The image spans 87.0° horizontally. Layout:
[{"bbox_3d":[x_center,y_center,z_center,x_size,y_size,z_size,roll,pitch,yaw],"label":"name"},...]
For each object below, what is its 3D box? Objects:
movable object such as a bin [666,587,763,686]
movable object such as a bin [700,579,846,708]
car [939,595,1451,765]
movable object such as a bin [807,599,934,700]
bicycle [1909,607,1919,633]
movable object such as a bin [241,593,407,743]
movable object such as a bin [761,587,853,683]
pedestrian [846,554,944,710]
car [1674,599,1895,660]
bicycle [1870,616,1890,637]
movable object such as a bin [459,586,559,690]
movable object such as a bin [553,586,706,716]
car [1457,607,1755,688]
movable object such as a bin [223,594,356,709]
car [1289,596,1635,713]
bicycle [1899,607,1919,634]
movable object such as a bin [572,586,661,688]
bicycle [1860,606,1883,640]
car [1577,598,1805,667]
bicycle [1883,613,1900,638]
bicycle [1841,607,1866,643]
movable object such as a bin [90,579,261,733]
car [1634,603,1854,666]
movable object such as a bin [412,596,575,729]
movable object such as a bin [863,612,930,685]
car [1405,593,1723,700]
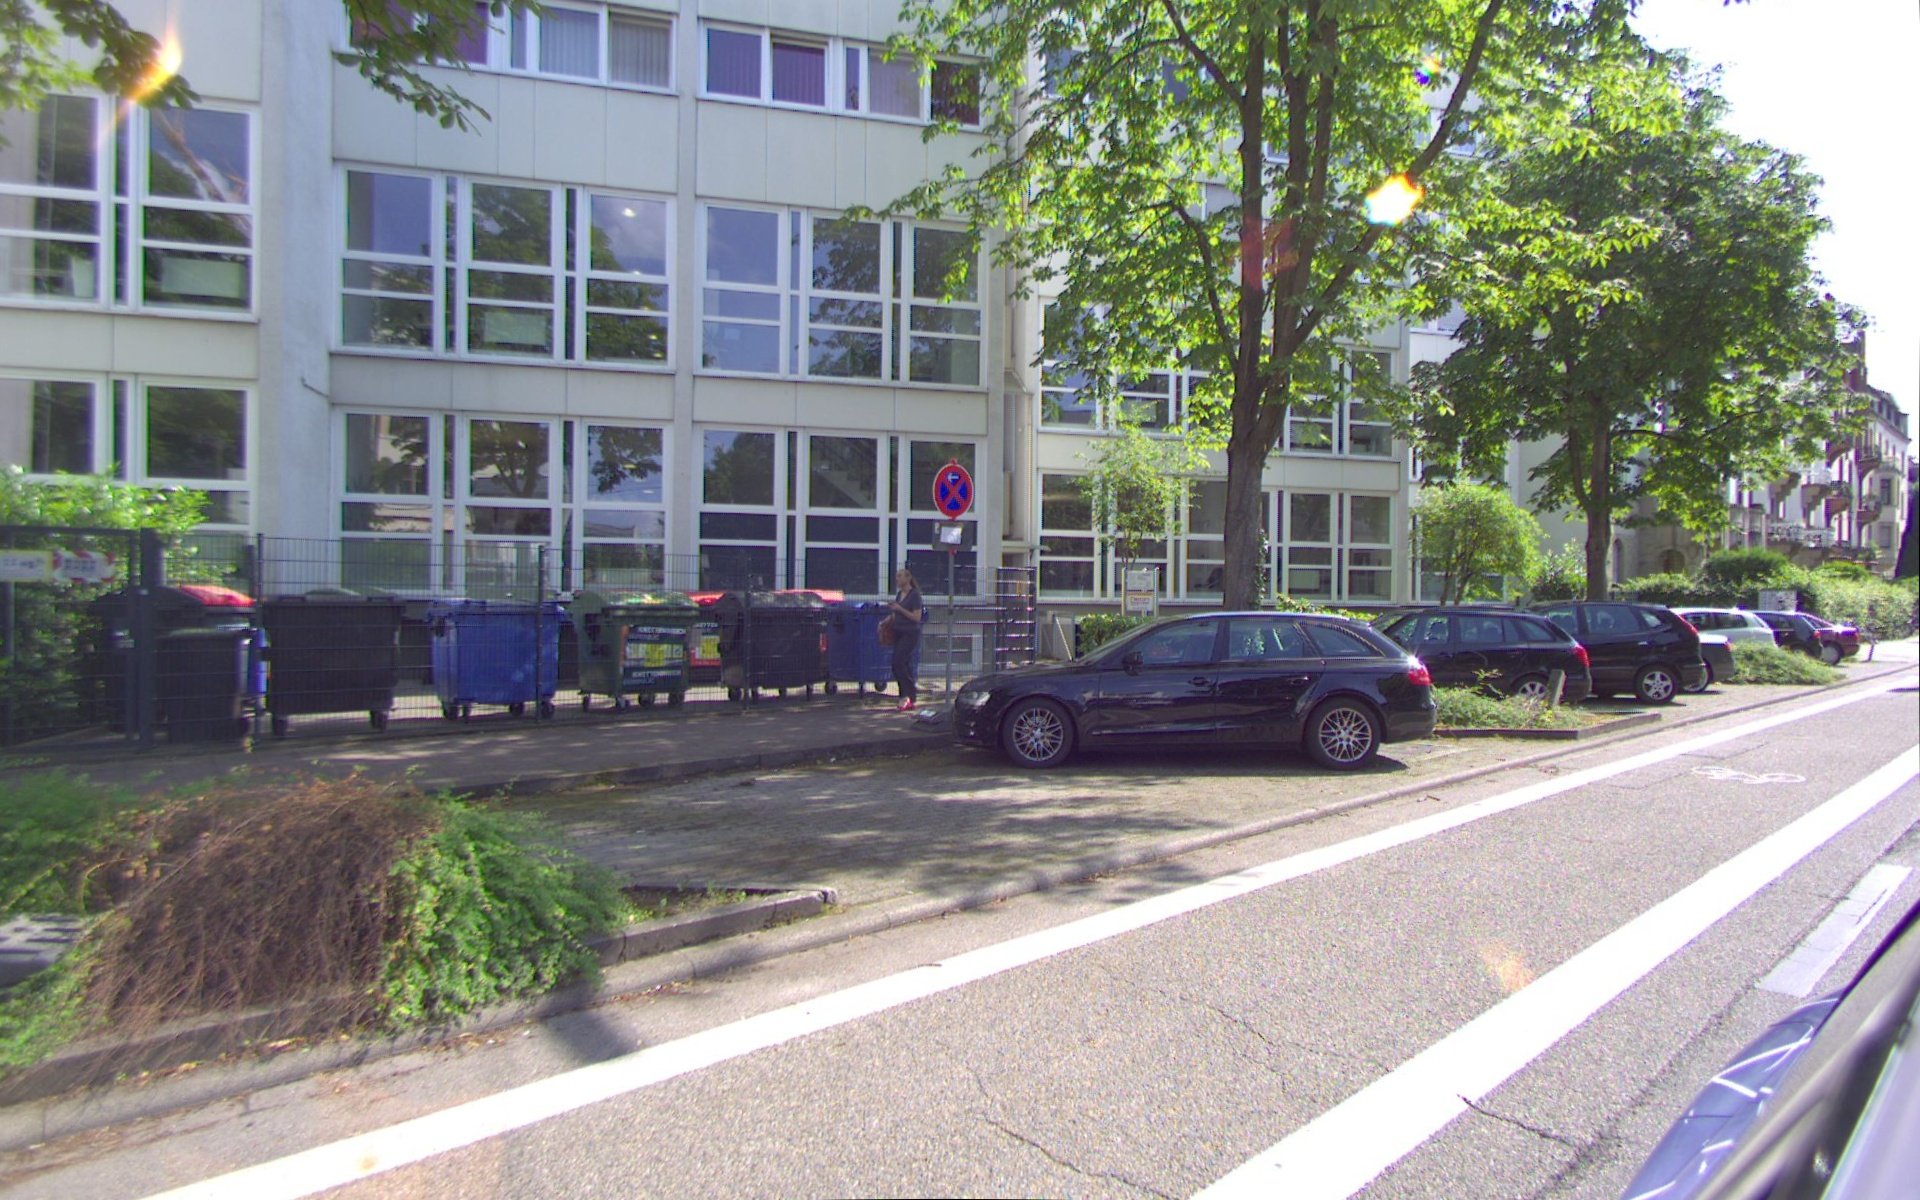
[{"bbox_3d":[-3.909,0.550,16.061,1.422,1.474,1.212,-1,0,-17],"label":"movable object such as a bin"},{"bbox_3d":[-2.441,0.526,13.183,1.443,1.558,1.277,0,0,-40],"label":"movable object such as a bin"},{"bbox_3d":[2.114,0.735,10.018,4.456,1.460,2.029,-1,-1,5],"label":"car"},{"bbox_3d":[-1.271,0.652,14.358,1.302,1.335,1.277,0,0,-40],"label":"movable object such as a bin"},{"bbox_3d":[40.128,0.821,42.133,2.321,1.008,0.612,0,4,-41],"label":"bicycle"},{"bbox_3d":[-6.308,0.624,10.028,1.215,1.353,1.276,0,-1,-42],"label":"movable object such as a bin"},{"bbox_3d":[-2.524,0.545,16.539,1.237,1.465,1.383,1,2,-19],"label":"movable object such as a bin"},{"bbox_3d":[-0.831,0.383,12.894,0.983,1.897,0.763,0,0,-35],"label":"pedestrian"},{"bbox_3d":[21.642,0.738,26.724,4.090,1.441,1.863,1,1,8],"label":"car"},{"bbox_3d":[33.044,0.958,36.342,1.532,0.685,0.280,0,4,-41],"label":"bicycle"},{"bbox_3d":[-6.851,0.545,15.463,1.237,1.465,1.383,1,2,-19],"label":"movable object such as a bin"},{"bbox_3d":[-4.010,0.601,12.298,1.274,1.456,1.331,-2,-3,43],"label":"movable object such as a bin"},{"bbox_3d":[11.588,0.835,18.414,4.102,1.366,1.902,0,-1,6],"label":"car"},{"bbox_3d":[-8.661,0.637,13.148,1.237,1.355,1.216,1,2,-25],"label":"movable object such as a bin"},{"bbox_3d":[6.927,0.737,14.327,4.004,1.462,1.723,1,-2,6],"label":"car"},{"bbox_3d":[38.295,0.807,40.652,1.839,1.001,0.613,0,3,-41],"label":"bicycle"},{"bbox_3d":[-5.353,0.548,15.806,1.237,1.465,1.383,1,2,-19],"label":"movable object such as a bin"},{"bbox_3d":[31.625,0.783,35.115,1.975,1.122,0.280,0,4,-41],"label":"bicycle"},{"bbox_3d":[16.434,0.701,22.908,3.929,1.479,1.534,0,0,5],"label":"car"},{"bbox_3d":[34.588,0.936,37.578,1.639,0.918,0.274,0,0,-41],"label":"bicycle"},{"bbox_3d":[29.012,0.801,32.851,1.975,1.122,0.280,0,4,-41],"label":"bicycle"},{"bbox_3d":[-8.105,0.558,10.534,0.918,1.500,1.270,1,-1,-13],"label":"movable object such as a bin"},{"bbox_3d":[19.135,0.813,24.864,3.932,1.467,1.696,0,0,8],"label":"car"},{"bbox_3d":[-5.178,0.644,11.224,1.335,1.353,1.276,0,-1,-42],"label":"movable object such as a bin"},{"bbox_3d":[-1.079,0.800,17.028,0.910,1.103,1.037,1,3,-15],"label":"movable object such as a bin"},{"bbox_3d":[9.559,0.722,16.343,3.933,1.595,1.900,-1,-1,9],"label":"car"}]
